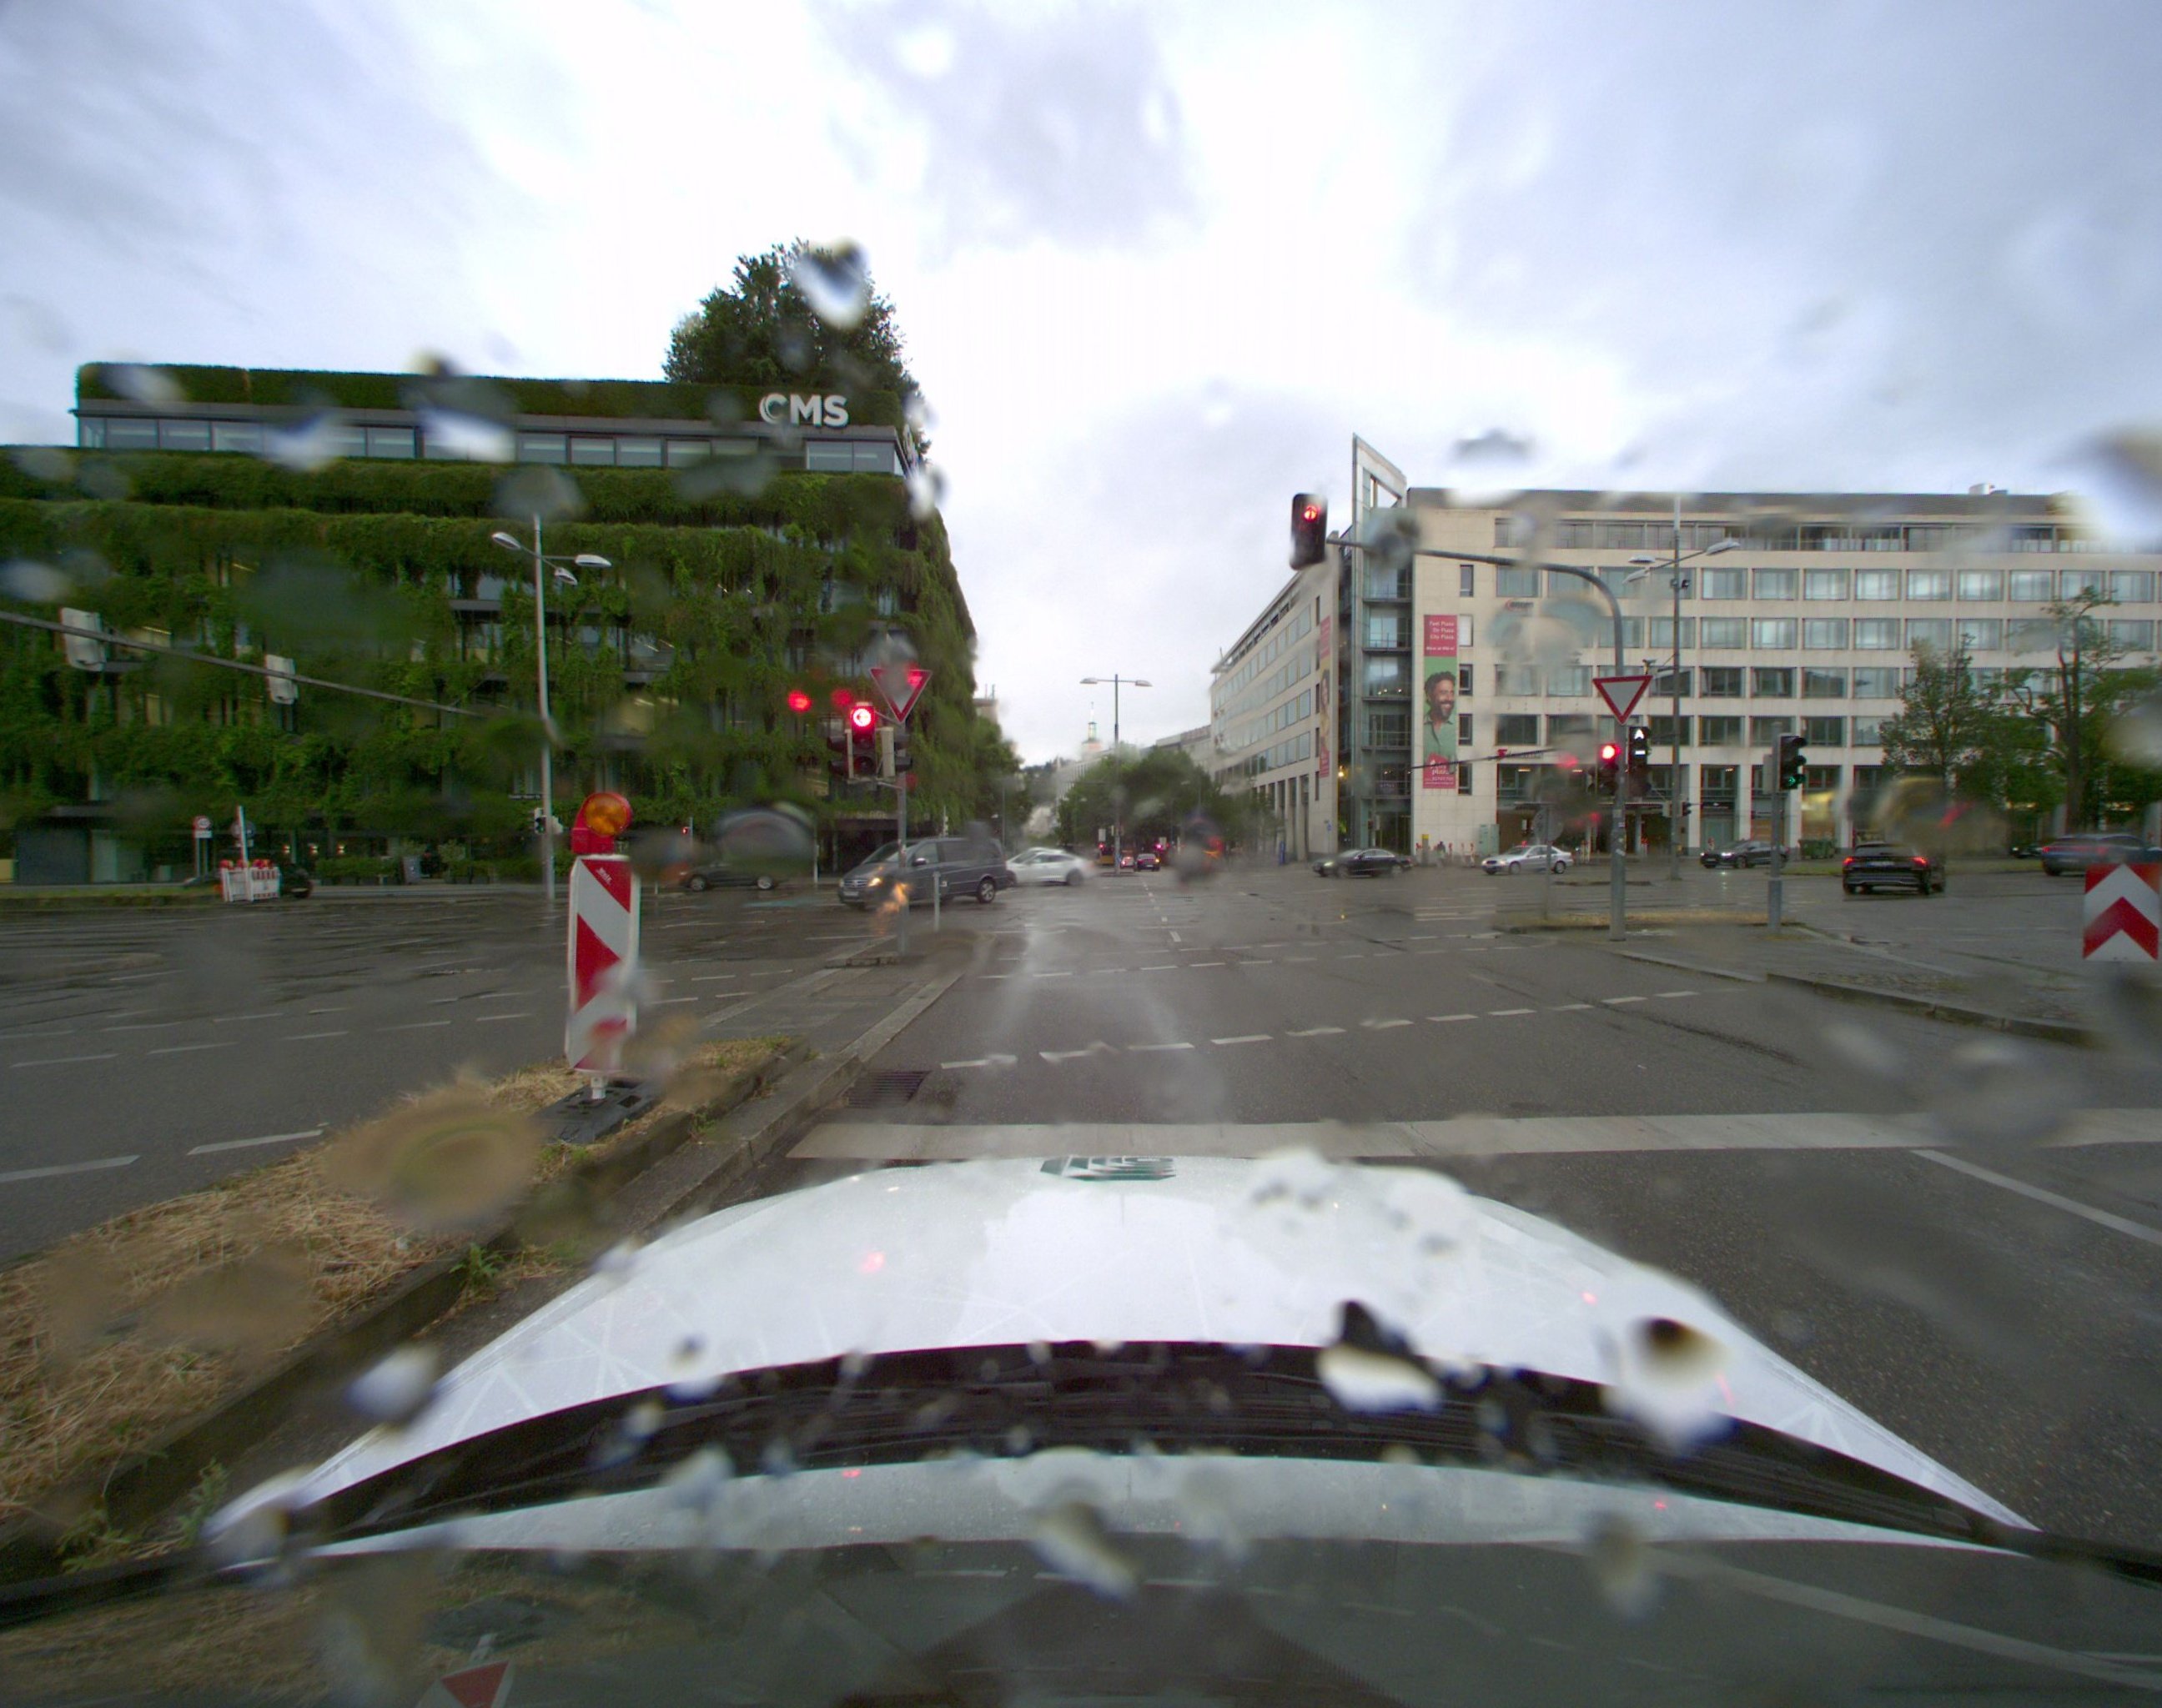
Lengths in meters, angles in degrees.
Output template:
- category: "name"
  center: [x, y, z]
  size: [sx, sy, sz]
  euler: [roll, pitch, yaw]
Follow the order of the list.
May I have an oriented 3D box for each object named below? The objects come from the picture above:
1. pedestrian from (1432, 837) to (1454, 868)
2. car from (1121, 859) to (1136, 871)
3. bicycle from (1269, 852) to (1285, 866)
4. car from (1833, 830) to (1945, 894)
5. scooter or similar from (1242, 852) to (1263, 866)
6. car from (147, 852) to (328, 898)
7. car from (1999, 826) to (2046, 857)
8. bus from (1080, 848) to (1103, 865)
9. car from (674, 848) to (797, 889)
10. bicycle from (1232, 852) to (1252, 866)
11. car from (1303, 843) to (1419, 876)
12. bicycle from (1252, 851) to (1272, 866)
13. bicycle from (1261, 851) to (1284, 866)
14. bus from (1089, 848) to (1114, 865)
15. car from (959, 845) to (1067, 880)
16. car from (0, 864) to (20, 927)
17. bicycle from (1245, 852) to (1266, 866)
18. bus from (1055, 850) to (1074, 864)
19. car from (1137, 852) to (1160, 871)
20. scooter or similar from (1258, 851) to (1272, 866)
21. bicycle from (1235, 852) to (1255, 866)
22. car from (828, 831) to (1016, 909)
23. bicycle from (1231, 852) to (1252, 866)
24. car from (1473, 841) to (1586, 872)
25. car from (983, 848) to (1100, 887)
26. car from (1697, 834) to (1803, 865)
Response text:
- category: "pedestrian"
  center: [21.822, -0.079, 49.075]
  size: [0.958, 1.816, 0.837]
  euler: [0, -1, 1]
- category: "car"
  center: [6.059, 1.376, 103.288]
  size: [1.775, 1.508, 4.001]
  euler: [0, -1, 2]
- category: "bicycle"
  center: [16.059, 0.405, 66.737]
  size: [0.579, 1.194, 1.794]
  euler: [-1, -1, 40]
- category: "car"
  center: [23.478, 0.185, 23.615]
  size: [4.020, 1.695, 1.913]
  euler: [-1, 0, -40]
- category: "scooter or similar"
  center: [14.915, 0.420, 70.798]
  size: [1.770, 1.194, 0.587]
  euler: [0, -1, 3]
- category: "car"
  center: [-31.896, 0.770, 30.951]
  size: [4.405, 1.638, 1.993]
  euler: [0, -1, -11]
- category: "car"
  center: [63.999, -0.838, 55.312]
  size: [4.686, 2.014, 1.532]
  euler: [0, -1, -34]
- category: "bus"
  center: [1.993, 0.431, 153.283]
  size: [2.631, 2.995, 7.415]
  euler: [-1, 0, -13]
- category: "car"
  center: [-14.452, 0.576, 34.292]
  size: [4.406, 1.638, 1.992]
  euler: [0, -1, -11]
- category: "bicycle"
  center: [14.479, 0.442, 73.236]
  size: [1.770, 1.194, 0.587]
  euler: [0, -1, 3]
- category: "car"
  center: [13.091, 0.254, 38.122]
  size: [4.853, 1.477, 1.990]
  euler: [0, -2, -14]
- category: "bicycle"
  center: [14.736, 0.384, 66.212]
  size: [0.588, 1.194, 1.768]
  euler: [0, -1, -26]
- category: "bicycle"
  center: [15.209, 0.367, 64.647]
  size: [1.607, 1.194, 0.590]
  euler: [-1, -1, 27]
- category: "bus"
  center: [3.686, 0.422, 146.090]
  size: [2.631, 2.995, 7.415]
  euler: [-1, 0, -13]
- category: "car"
  center: [-3.119, 0.388, 37.199]
  size: [4.690, 1.512, 1.802]
  euler: [0, -1, -14]
- category: "car"
  center: [-27.333, 1.002, 18.309]
  size: [3.981, 1.475, 1.996]
  euler: [-1, 0, -6]
- category: "bicycle"
  center: [15.295, 0.422, 71.412]
  size: [1.770, 1.194, 0.587]
  euler: [0, -1, 3]
- category: "bus"
  center: [-3.537, 0.634, 173.575]
  size: [2.631, 2.995, 7.294]
  euler: [-1, 0, -13]
- category: "car"
  center: [5.749, 0.646, 69.447]
  size: [1.775, 1.508, 4.001]
  euler: [0, -1, 2]
- category: "scooter or similar"
  center: [14.428, 0.368, 63.981]
  size: [0.951, 1.194, 0.458]
  euler: [-1, -1, 42]
- category: "bicycle"
  center: [14.946, 0.446, 74.143]
  size: [1.770, 1.194, 0.587]
  euler: [0, -1, 3]
- category: "car"
  center: [-4.272, 0.398, 22.647]
  size: [1.974, 1.927, 4.996]
  euler: [-1, -1, 40]
- category: "bicycle"
  center: [14.304, 0.439, 72.605]
  size: [1.770, 1.194, 0.587]
  euler: [0, -1, 3]
- category: "car"
  center: [22.041, 0.122, 40.090]
  size: [4.723, 1.477, 1.991]
  euler: [0, -2, -13]
- category: "car"
  center: [-1.695, 0.530, 34.408]
  size: [4.690, 1.512, 1.802]
  euler: [-1, 0, -14]
- category: "car"
  center: [35.695, -0.230, 43.478]
  size: [4.471, 1.609, 1.827]
  euler: [0, -1, -8]
